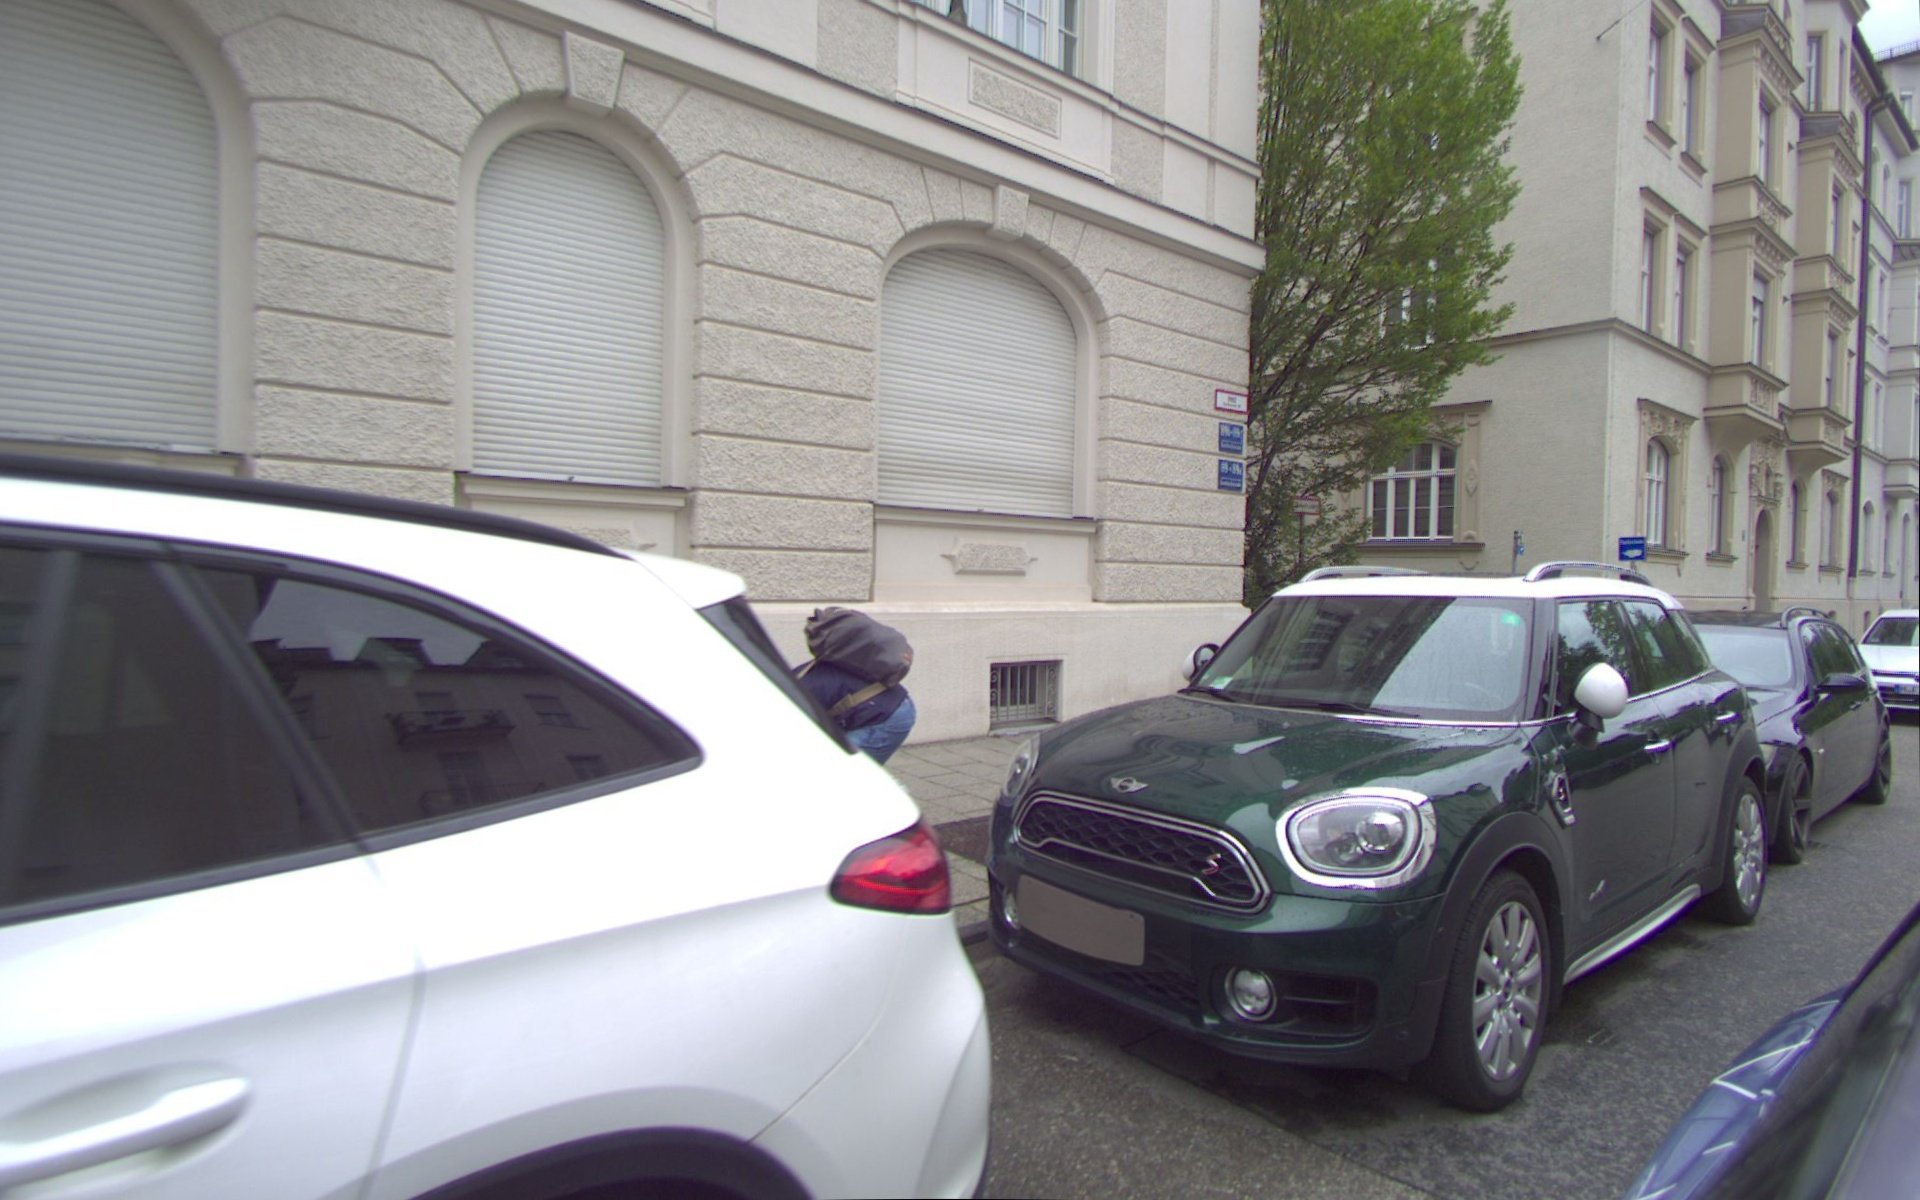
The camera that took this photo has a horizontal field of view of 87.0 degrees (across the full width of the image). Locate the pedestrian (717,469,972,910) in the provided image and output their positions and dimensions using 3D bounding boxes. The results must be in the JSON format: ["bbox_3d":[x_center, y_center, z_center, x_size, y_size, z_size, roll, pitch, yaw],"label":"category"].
[{"bbox_3d":[-0.535,0.348,4.624,0.839,1.797,0.684,1,3,-38],"label":"pedestrian"}]

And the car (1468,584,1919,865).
[{"bbox_3d":[5.494,0.668,7.321,4.148,1.470,1.715,1,0,-39],"label":"car"}]

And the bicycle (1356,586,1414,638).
[{"bbox_3d":[7.760,0.206,18.457,1.109,0.919,0.453,0,3,-37],"label":"bicycle"}]

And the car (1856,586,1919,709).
[{"bbox_3d":[13.701,0.633,13.866,3.994,1.526,1.665,1,0,-42],"label":"car"}]

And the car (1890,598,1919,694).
[{"bbox_3d":[17.092,0.751,17.017,4.012,1.518,1.793,1,-1,-42],"label":"car"}]

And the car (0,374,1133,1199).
[{"bbox_3d":[-2.043,0.616,0.897,4.310,1.657,1.901,1,1,-38],"label":"car"}]

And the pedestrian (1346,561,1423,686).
[{"bbox_3d":[6.074,0.329,14.538,0.842,1.678,0.862,3,-1,17],"label":"pedestrian"}]

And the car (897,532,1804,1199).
[{"bbox_3d":[1.915,0.601,4.272,4.094,1.544,1.753,0,1,-39],"label":"car"}]
